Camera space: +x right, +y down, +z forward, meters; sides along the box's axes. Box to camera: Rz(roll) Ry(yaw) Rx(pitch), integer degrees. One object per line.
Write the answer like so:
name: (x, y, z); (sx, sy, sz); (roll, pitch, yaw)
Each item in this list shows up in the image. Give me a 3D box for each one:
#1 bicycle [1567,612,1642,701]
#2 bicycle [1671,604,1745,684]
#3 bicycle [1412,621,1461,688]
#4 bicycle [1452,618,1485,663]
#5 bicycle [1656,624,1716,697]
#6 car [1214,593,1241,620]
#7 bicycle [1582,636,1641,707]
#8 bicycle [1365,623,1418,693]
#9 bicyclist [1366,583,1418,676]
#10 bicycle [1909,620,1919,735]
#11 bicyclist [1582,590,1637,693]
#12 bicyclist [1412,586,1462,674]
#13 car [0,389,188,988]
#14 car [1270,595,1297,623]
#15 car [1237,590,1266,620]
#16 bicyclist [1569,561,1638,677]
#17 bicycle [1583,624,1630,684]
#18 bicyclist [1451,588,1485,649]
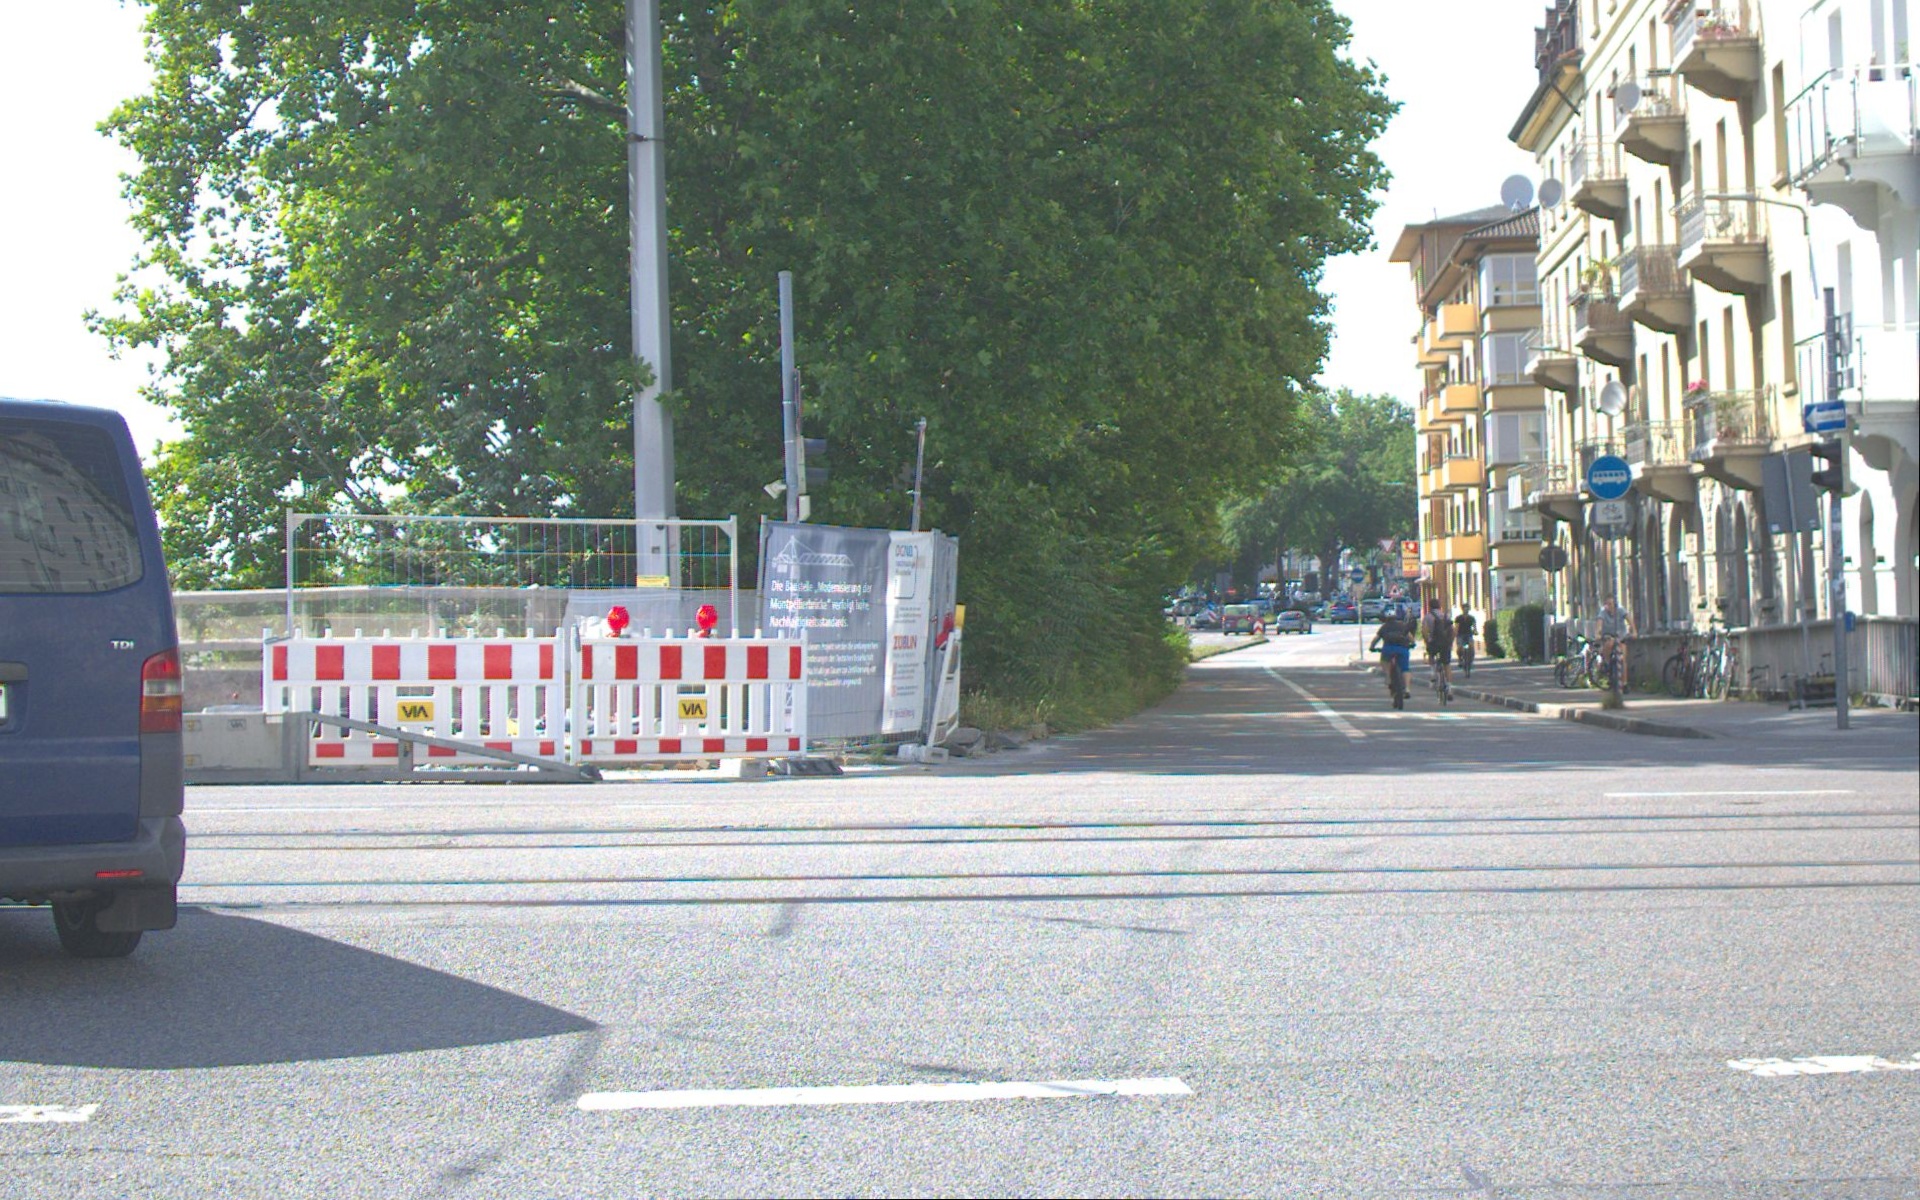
bicycle: (8.526, 0.733, 45.545); (0.838, 1.133, 2.858); (0, 0, 8)
bicycle: (10.865, 0.630, 50.000); (0.838, 1.133, 2.858); (0, 0, 8)
bicycle: (8.386, 0.947, 60.456); (0.838, 1.133, 2.858); (0, 0, 8)
bicycle: (13.007, 1.025, 87.987); (0.838, 1.133, 2.858); (0, 0, 8)
bicycle: (11.317, 0.933, 53.631); (0.680, 1.071, 2.292); (-1, 0, 7)
car: (16.772, 0.402, 215.400); (1.626, 1.617, 3.695); (0, 1, 5)
bicycle: (10.135, 1.106, 53.514); (0.708, 0.987, 1.819); (-3, 1, 6)
bicycle: (7.230, 0.959, 57.535); (0.838, 1.133, 2.858); (0, 0, 8)
bicyclist: (7.213, 0.494, 57.417); (0.838, 1.532, 1.023); (0, 0, 8)
bicycle: (8.695, 0.662, 28.670); (0.865, 0.986, 2.246); (0, 0, -2)
bicyclist: (10.119, 0.645, 53.601); (0.708, 1.544, 0.784); (-3, 1, 6)
bicyclist: (8.390, 0.519, 60.468); (0.838, 1.532, 1.023); (0, 0, 8)
car: (-4.298, 0.253, 12.506); (1.815, 1.899, 4.055); (-1, 2, -29)
car: (20.242, 0.570, 215.277); (1.626, 1.617, 3.695); (0, 1, 5)
car: (16.345, 0.264, 192.746); (1.626, 1.617, 3.695); (0, 1, 5)
bicyclist: (8.500, 0.251, 45.451); (0.838, 1.503, 0.952); (0, 0, 8)
bicycle: (12.114, 1.007, 64.449); (0.680, 1.071, 2.292); (-1, 0, 7)
bicyclist: (12.982, 0.476, 87.909); (0.838, 1.532, 1.023); (0, 0, 8)
